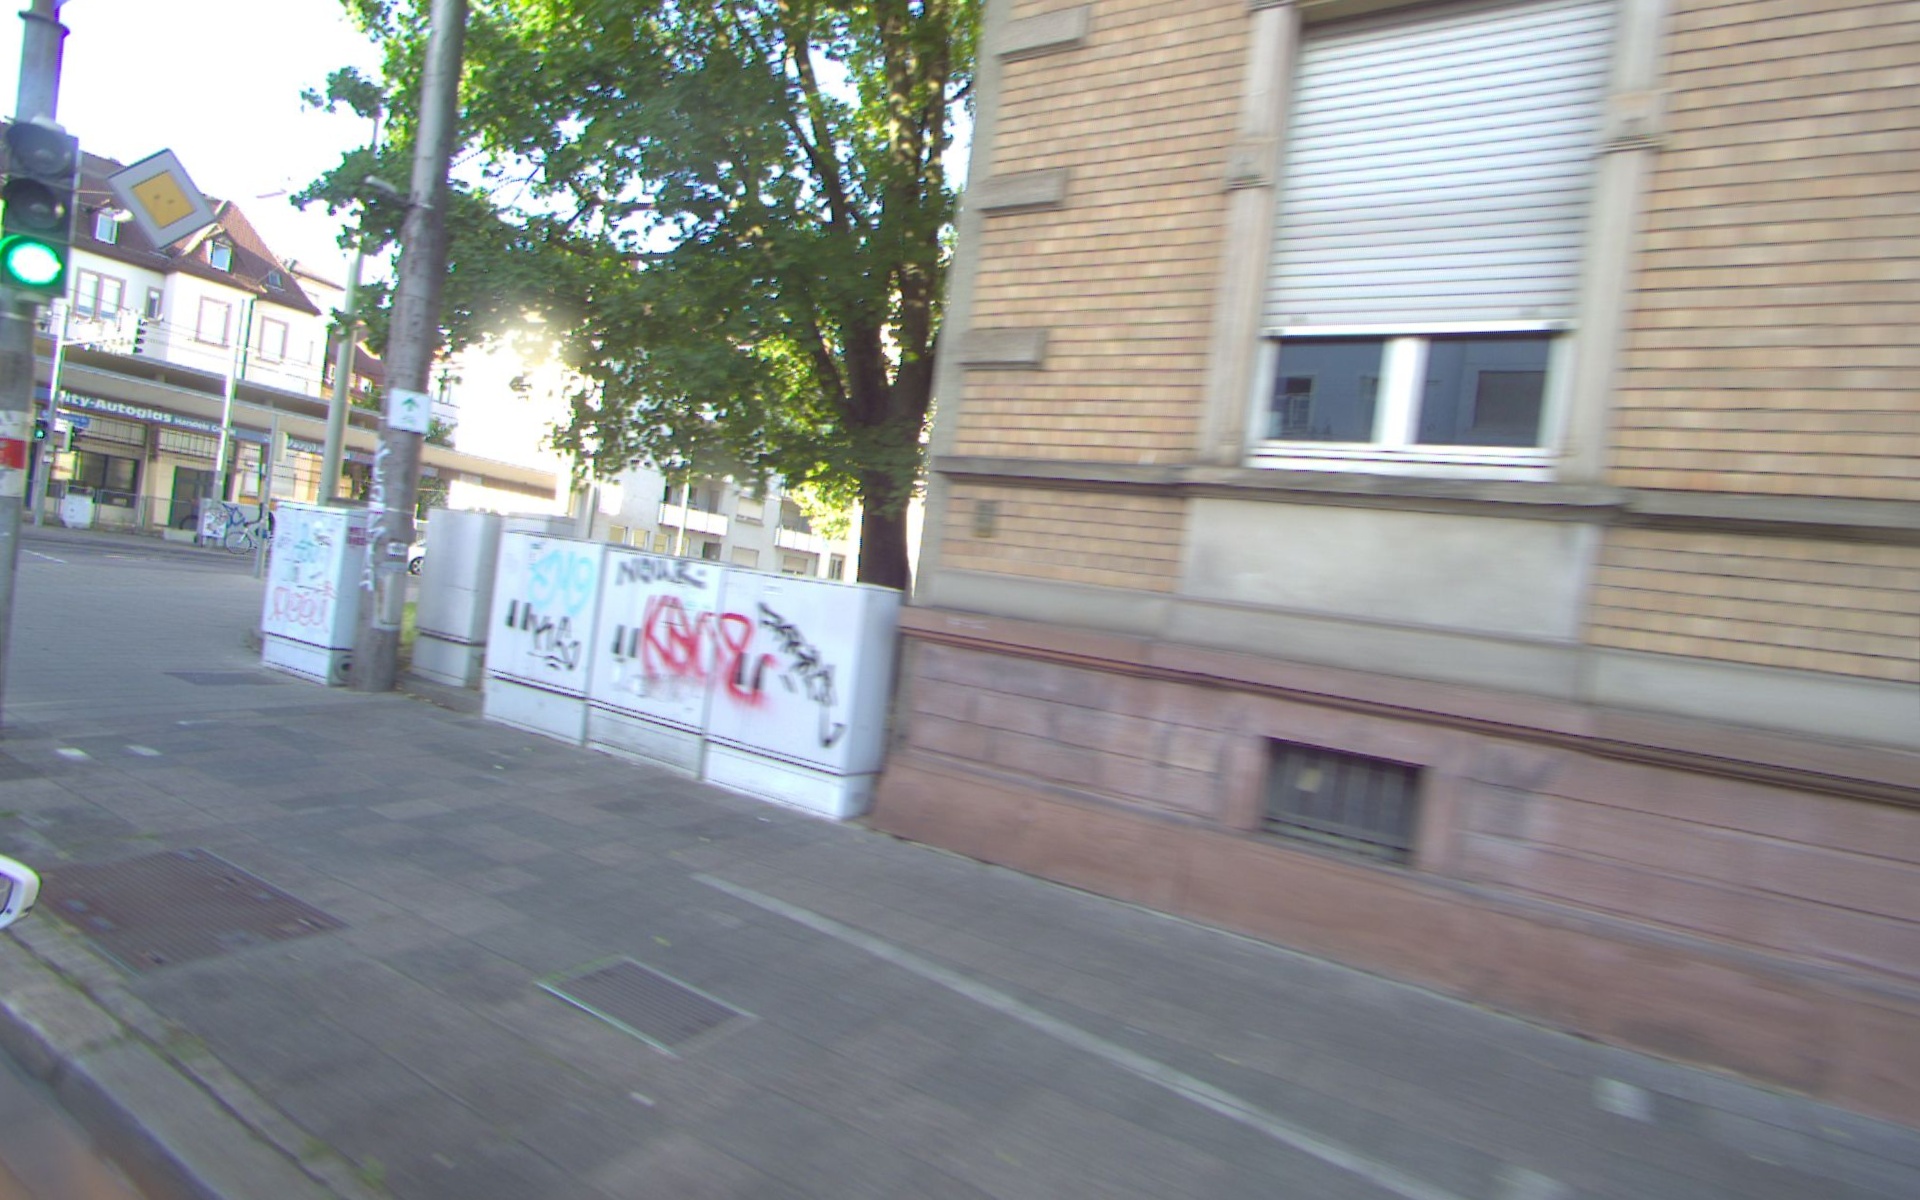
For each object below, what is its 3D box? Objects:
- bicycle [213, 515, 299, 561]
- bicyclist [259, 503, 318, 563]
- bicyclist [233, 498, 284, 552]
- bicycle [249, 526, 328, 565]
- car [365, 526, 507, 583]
[{"bbox_3d":[-22.719,-2.001,32.496,0.883,1.139,2.057,8,0,40],"label":"bicycle"},{"bbox_3d":[-22.809,-2.264,34.186,0.895,1.809,1.252,7,0,27],"label":"bicyclist"},{"bbox_3d":[-22.651,-2.430,32.501,0.867,1.545,1.046,8,1,41],"label":"bicyclist"},{"bbox_3d":[-22.827,-1.848,34.234,0.715,1.029,2.044,7,0,32],"label":"bicycle"},{"bbox_3d":[-19.042,-1.638,36.716,1.767,1.475,4.182,6,-1,32],"label":"car"}]
